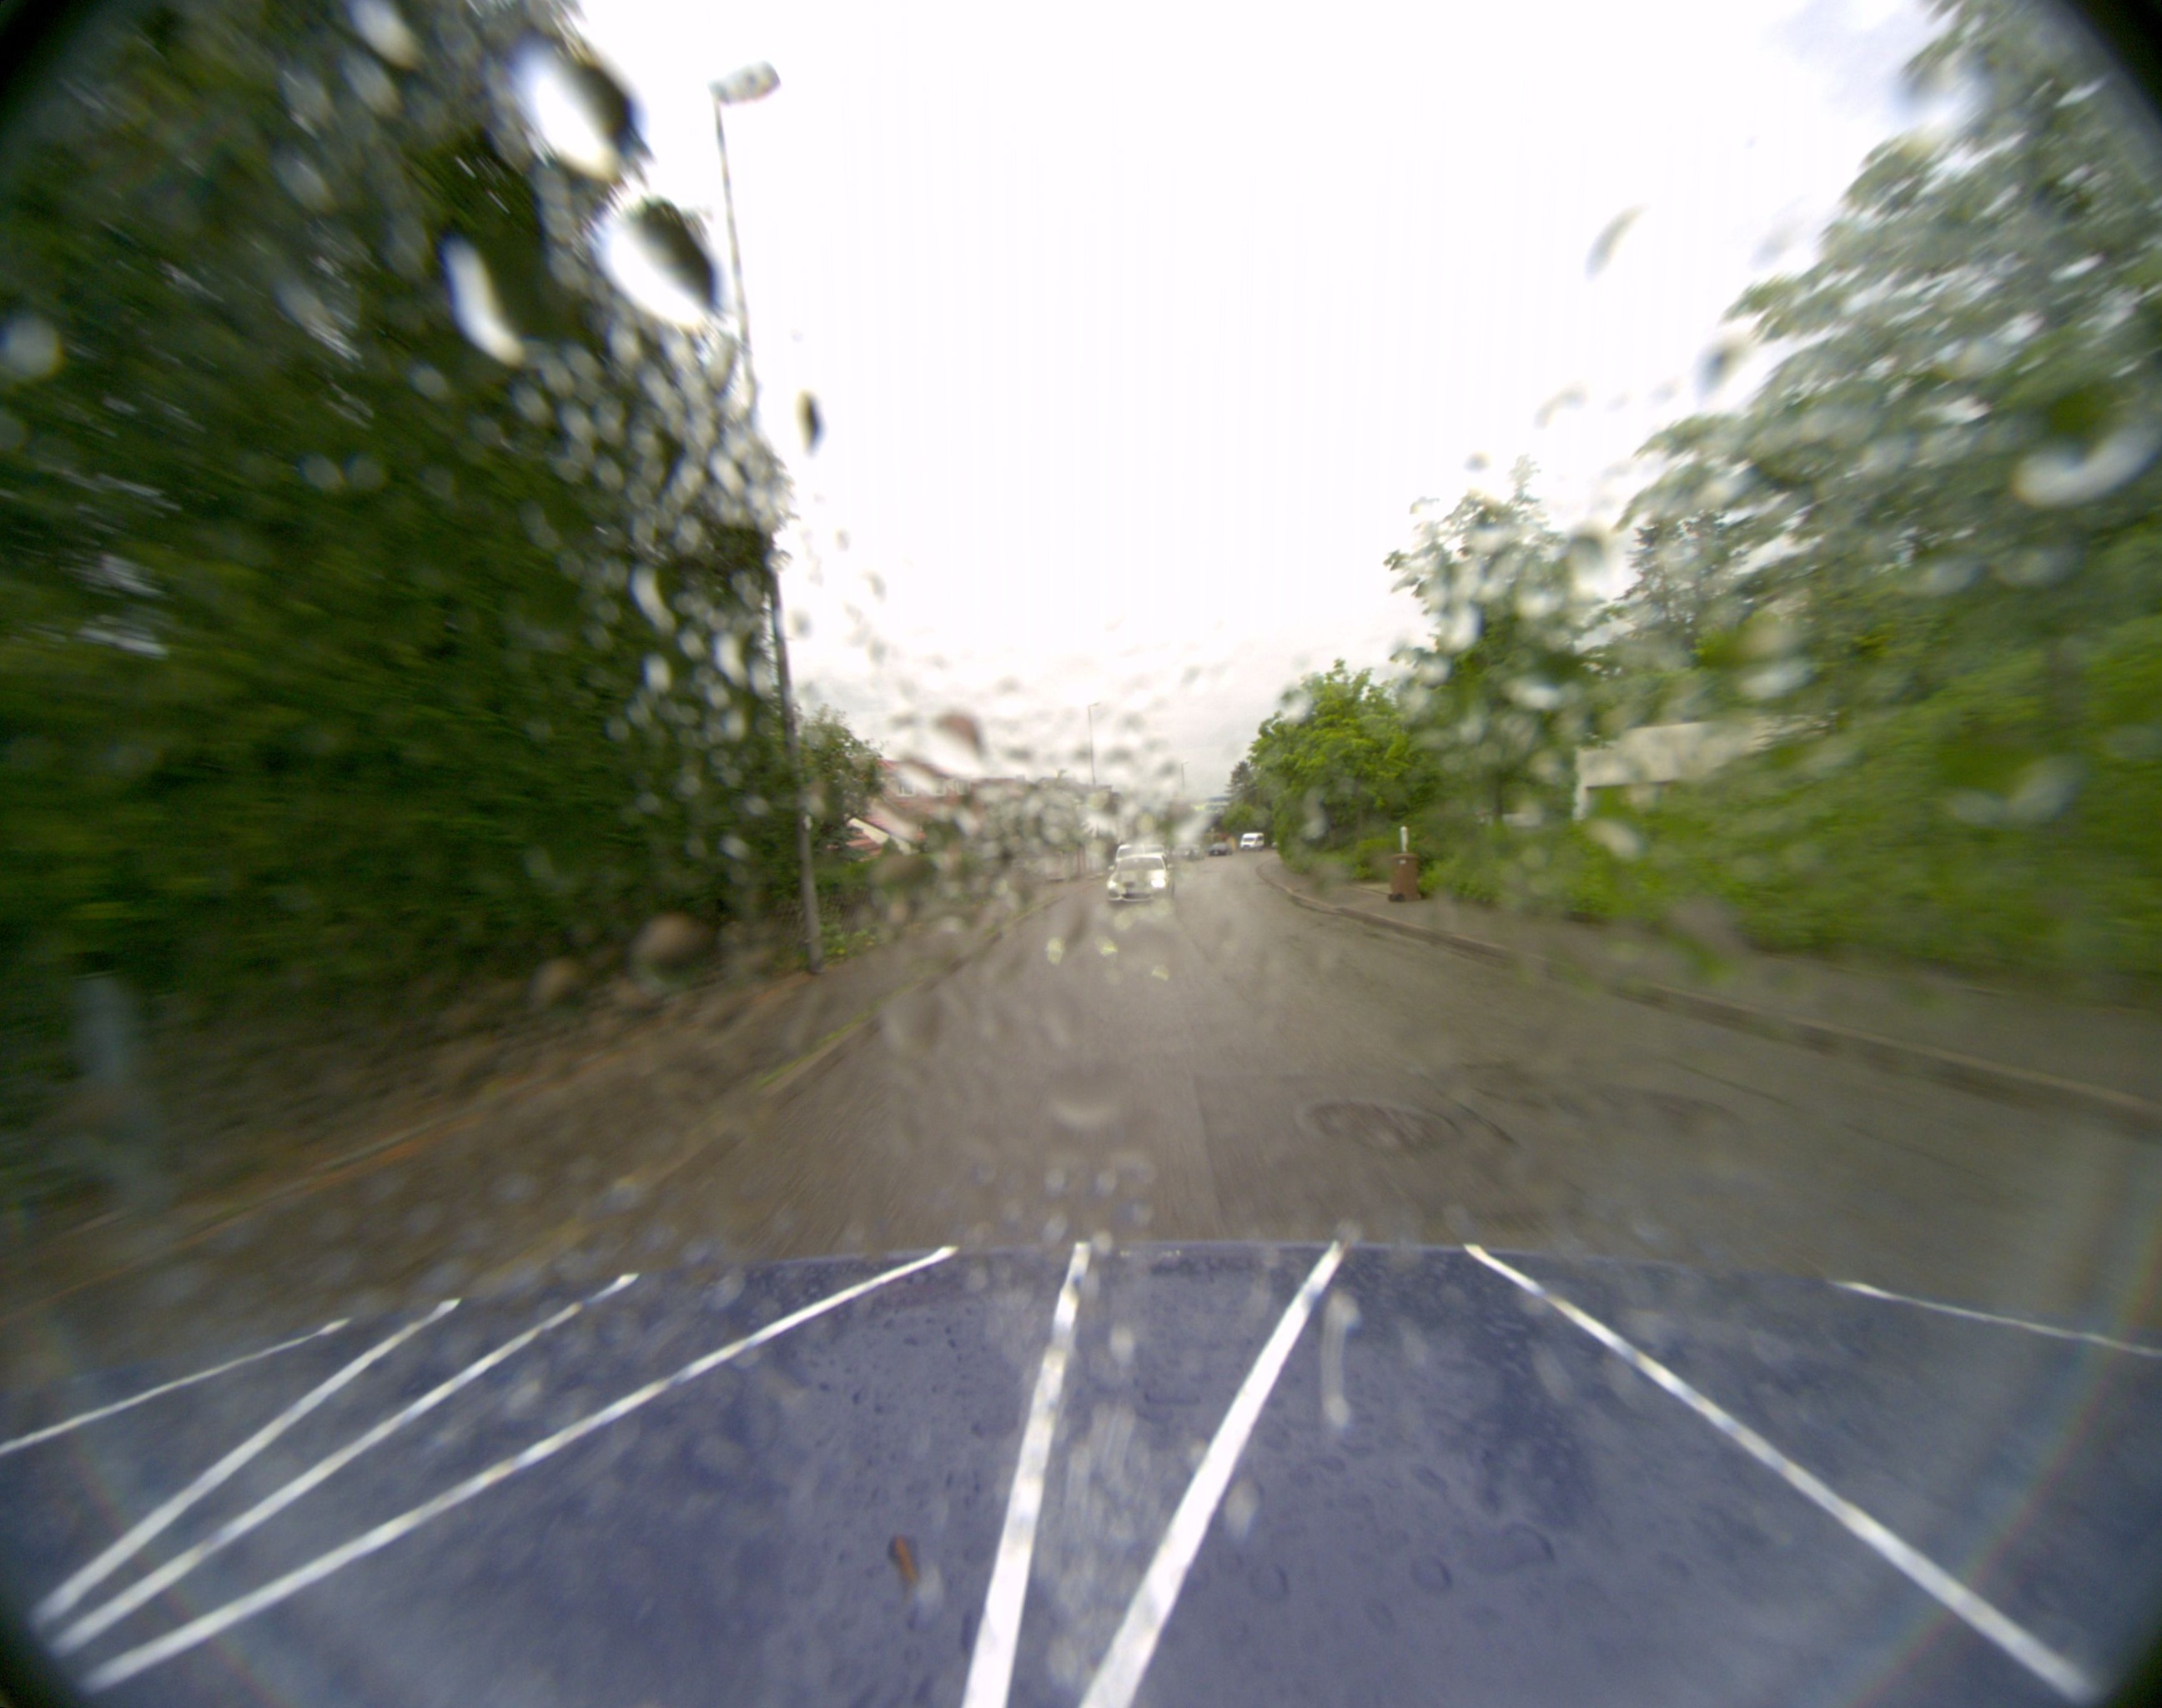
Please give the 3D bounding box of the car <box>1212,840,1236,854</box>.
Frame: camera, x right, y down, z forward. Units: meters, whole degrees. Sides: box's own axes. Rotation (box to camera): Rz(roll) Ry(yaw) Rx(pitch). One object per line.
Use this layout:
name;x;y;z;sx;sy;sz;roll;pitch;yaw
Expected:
car;16.603;-0.811;88.114;1.859;1.518;5.070;0;2;21

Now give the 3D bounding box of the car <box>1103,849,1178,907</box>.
car;1.887;0.657;22.751;1.797;1.455;4.002;-1;2;10

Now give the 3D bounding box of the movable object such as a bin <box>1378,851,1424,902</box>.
movable object such as a bin;7.193;0.517;17.126;0.695;1.083;0.804;-5;-3;10

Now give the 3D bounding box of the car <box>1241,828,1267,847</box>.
car;24.102;-2.281;105.505;2.074;2.536;6.190;-1;2;26

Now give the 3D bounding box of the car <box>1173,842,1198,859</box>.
car;9.504;-0.376;68.986;1.661;1.459;3.767;0;2;16

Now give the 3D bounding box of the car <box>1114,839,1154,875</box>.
car;2.986;0.112;41.913;1.782;1.793;4.709;-2;1;8

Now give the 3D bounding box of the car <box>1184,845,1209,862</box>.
car;11.266;-0.072;74.094;1.770;1.459;4.239;0;2;17

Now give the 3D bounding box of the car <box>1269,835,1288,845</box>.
car;30.985;-2.147;119.120;1.750;1.415;4.006;-1;2;30

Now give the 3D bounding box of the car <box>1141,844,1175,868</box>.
car;5.613;0.095;54.901;1.807;1.617;4.291;0;2;14
